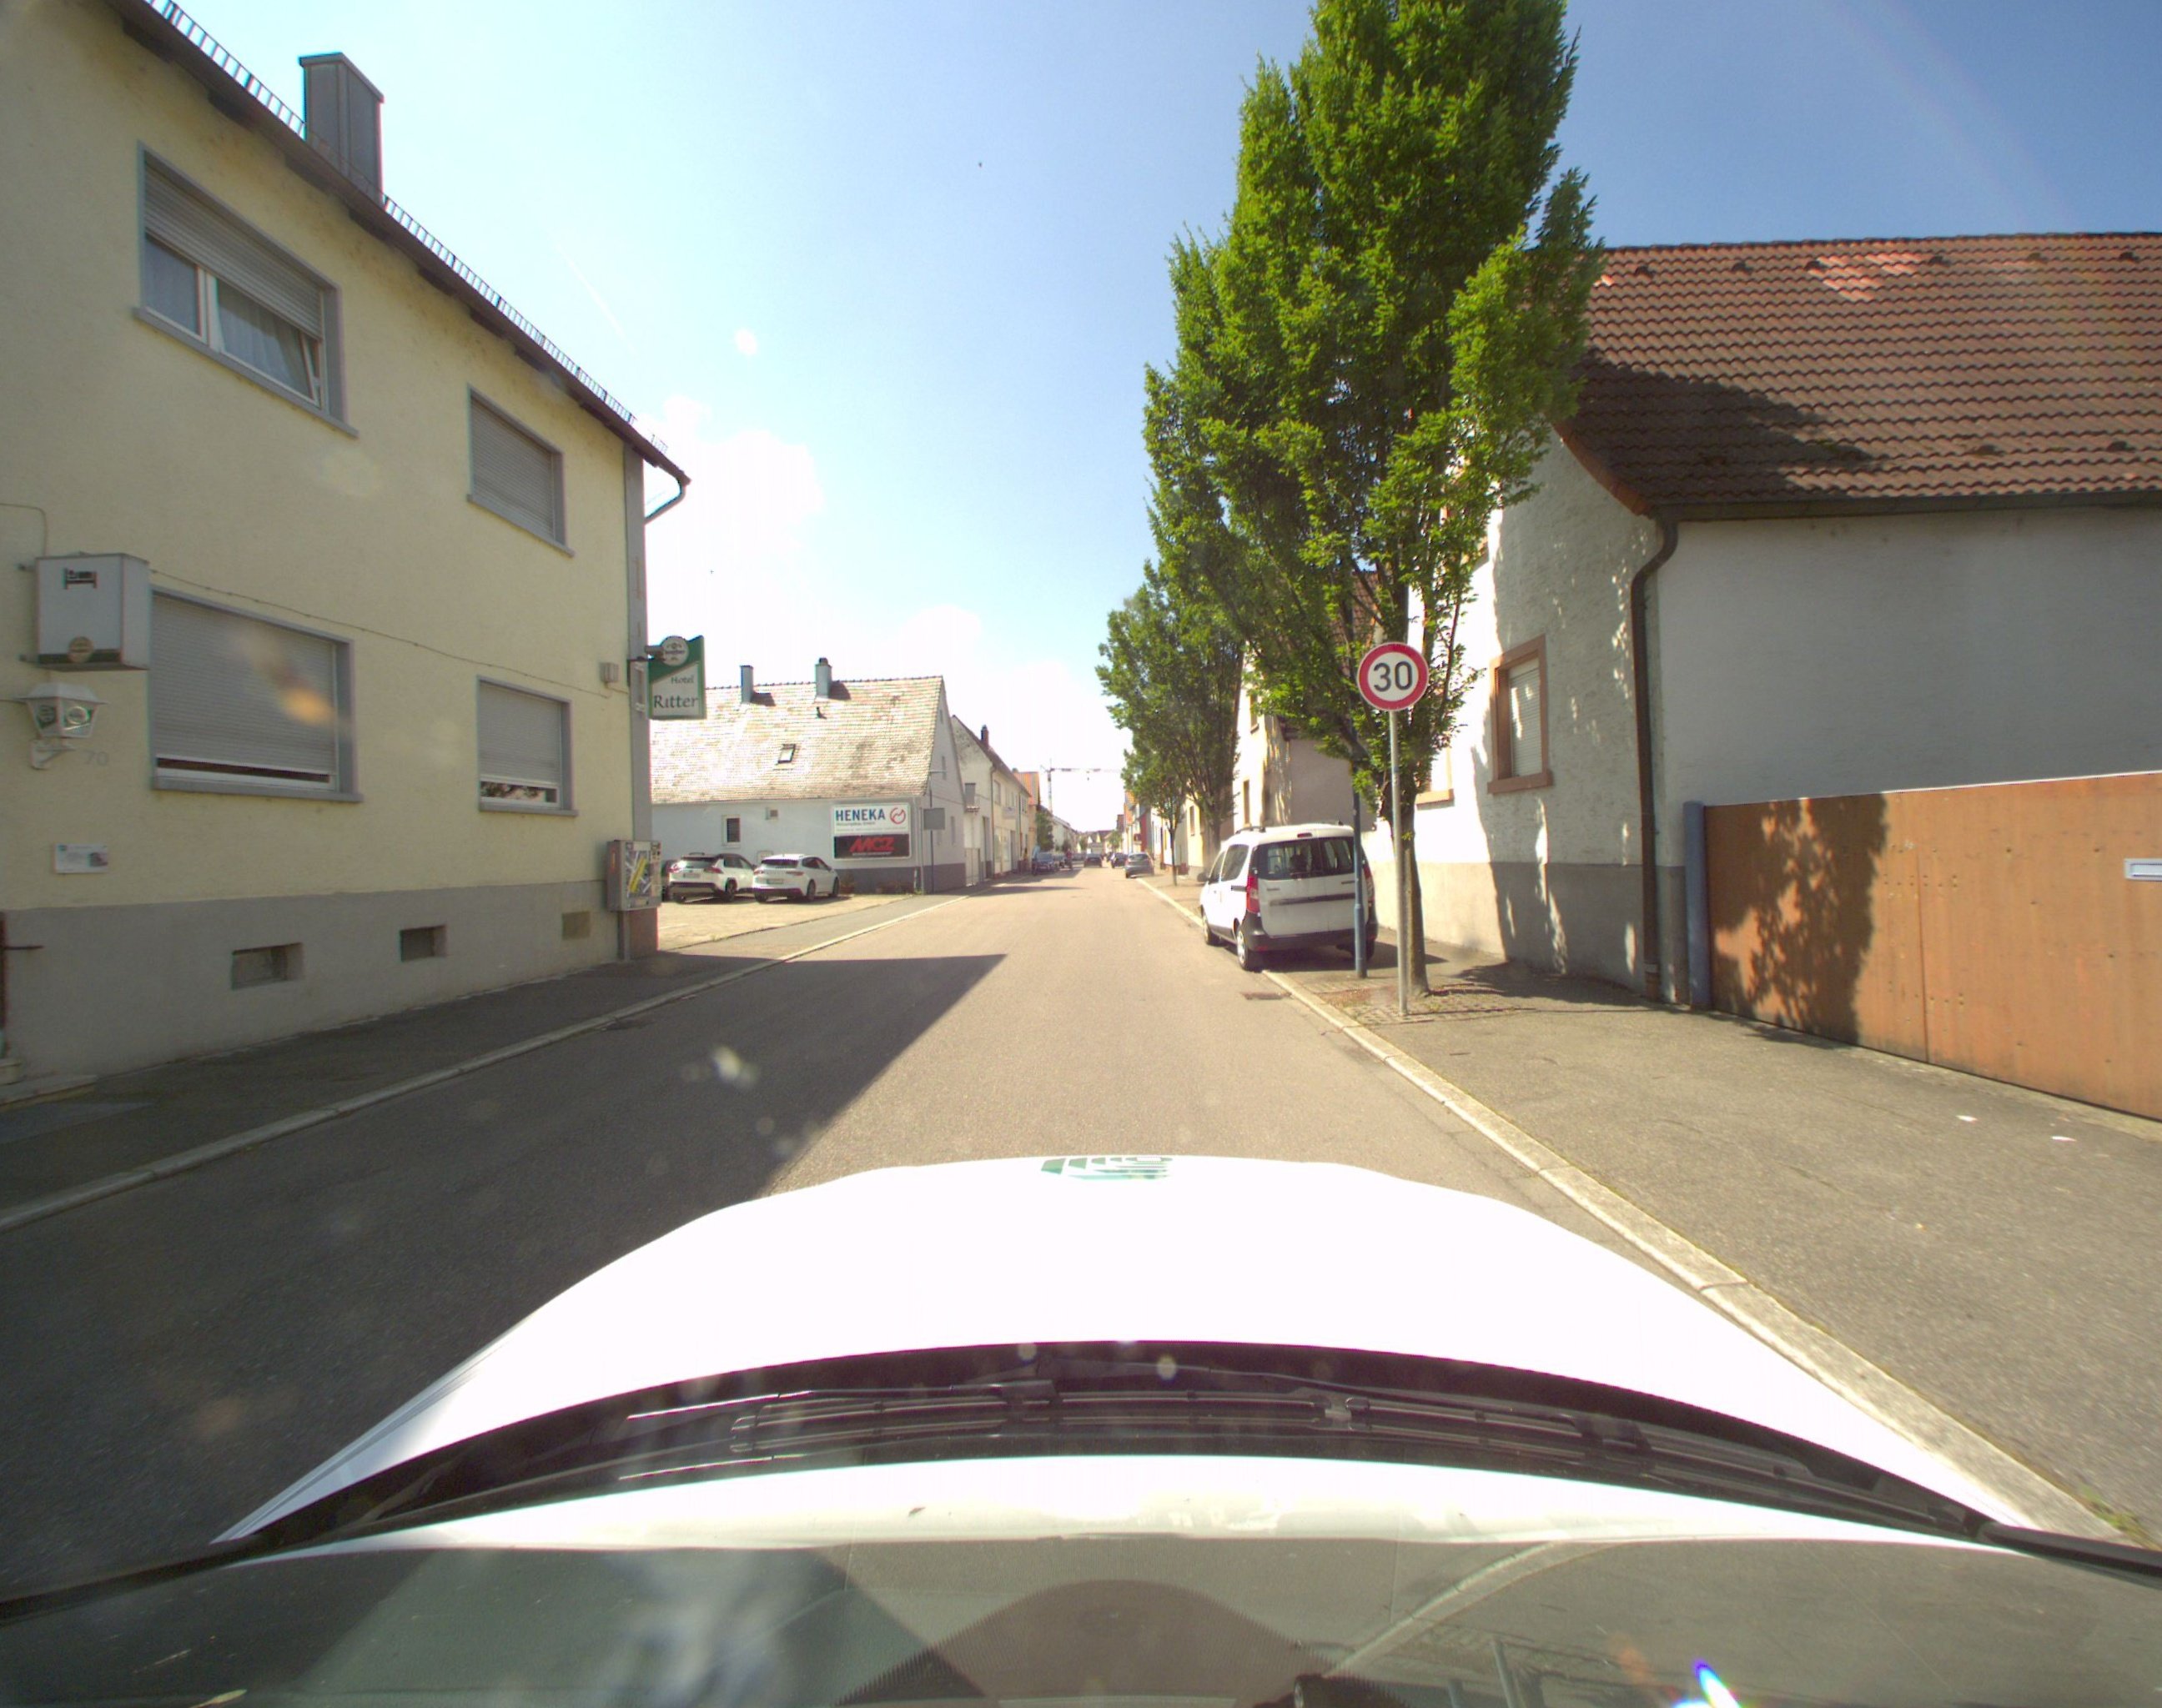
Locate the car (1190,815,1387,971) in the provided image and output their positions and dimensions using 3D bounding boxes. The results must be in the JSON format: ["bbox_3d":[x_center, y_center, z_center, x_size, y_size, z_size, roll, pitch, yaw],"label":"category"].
[{"bbox_3d":[2.775,0.469,11.869,1.714,1.790,4.142,-3,0,-1],"label":"car"}]

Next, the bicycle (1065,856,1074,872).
[{"bbox_3d":[-1.000,0.874,70.421,0.748,1.308,2.685,0,-1,0],"label":"bicycle"}]

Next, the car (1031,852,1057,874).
[{"bbox_3d":[-2.812,0.652,62.994,1.803,1.589,4.000,-1,0,0],"label":"car"}]

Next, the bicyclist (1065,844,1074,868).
[{"bbox_3d":[-0.997,0.169,70.514,0.737,2.059,0.844,0,-1,0],"label":"bicyclist"}]

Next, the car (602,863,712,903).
[{"bbox_3d":[-14.947,0.984,28.988,1.714,1.281,4.197,0,0,-1],"label":"car"}]

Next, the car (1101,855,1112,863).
[{"bbox_3d":[3.974,0.761,125.998,1.713,1.268,4.157,-1,0,1],"label":"car"}]

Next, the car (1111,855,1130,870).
[{"bbox_3d":[3.698,0.801,76.953,1.713,1.355,4.157,-1,0,1],"label":"car"}]

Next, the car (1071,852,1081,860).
[{"bbox_3d":[-0.902,0.349,157.954,1.803,1.589,4.000,-1,0,1],"label":"car"}]

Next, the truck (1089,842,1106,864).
[{"bbox_3d":[3.330,-0.204,163.332,3.132,4.250,9.307,0,-1,2],"label":"truck"}]

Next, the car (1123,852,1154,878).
[{"bbox_3d":[3.377,0.623,48.609,1.712,1.461,4.159,-1,0,3],"label":"car"}]

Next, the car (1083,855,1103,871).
[{"bbox_3d":[1.203,0.879,81.774,1.895,1.563,4.479,-1,0,2],"label":"car"}]

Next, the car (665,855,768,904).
[{"bbox_3d":[-12.519,0.820,28.262,1.714,1.556,4.197,0,0,-1],"label":"car"}]

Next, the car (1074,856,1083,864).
[{"bbox_3d":[-0.480,1.253,164.617,1.803,1.589,4.000,-1,0,0],"label":"car"}]

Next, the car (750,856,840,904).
[{"bbox_3d":[-9.877,0.839,28.453,1.714,1.556,4.197,0,0,-1],"label":"car"}]

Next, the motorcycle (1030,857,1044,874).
[{"bbox_3d":[-3.181,0.842,59.139,0.843,1.170,2.468,0,-1,0],"label":"motorcycle"}]

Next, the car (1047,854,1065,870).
[{"bbox_3d":[-2.697,0.853,87.975,1.803,1.589,4.000,-1,0,0],"label":"car"}]
